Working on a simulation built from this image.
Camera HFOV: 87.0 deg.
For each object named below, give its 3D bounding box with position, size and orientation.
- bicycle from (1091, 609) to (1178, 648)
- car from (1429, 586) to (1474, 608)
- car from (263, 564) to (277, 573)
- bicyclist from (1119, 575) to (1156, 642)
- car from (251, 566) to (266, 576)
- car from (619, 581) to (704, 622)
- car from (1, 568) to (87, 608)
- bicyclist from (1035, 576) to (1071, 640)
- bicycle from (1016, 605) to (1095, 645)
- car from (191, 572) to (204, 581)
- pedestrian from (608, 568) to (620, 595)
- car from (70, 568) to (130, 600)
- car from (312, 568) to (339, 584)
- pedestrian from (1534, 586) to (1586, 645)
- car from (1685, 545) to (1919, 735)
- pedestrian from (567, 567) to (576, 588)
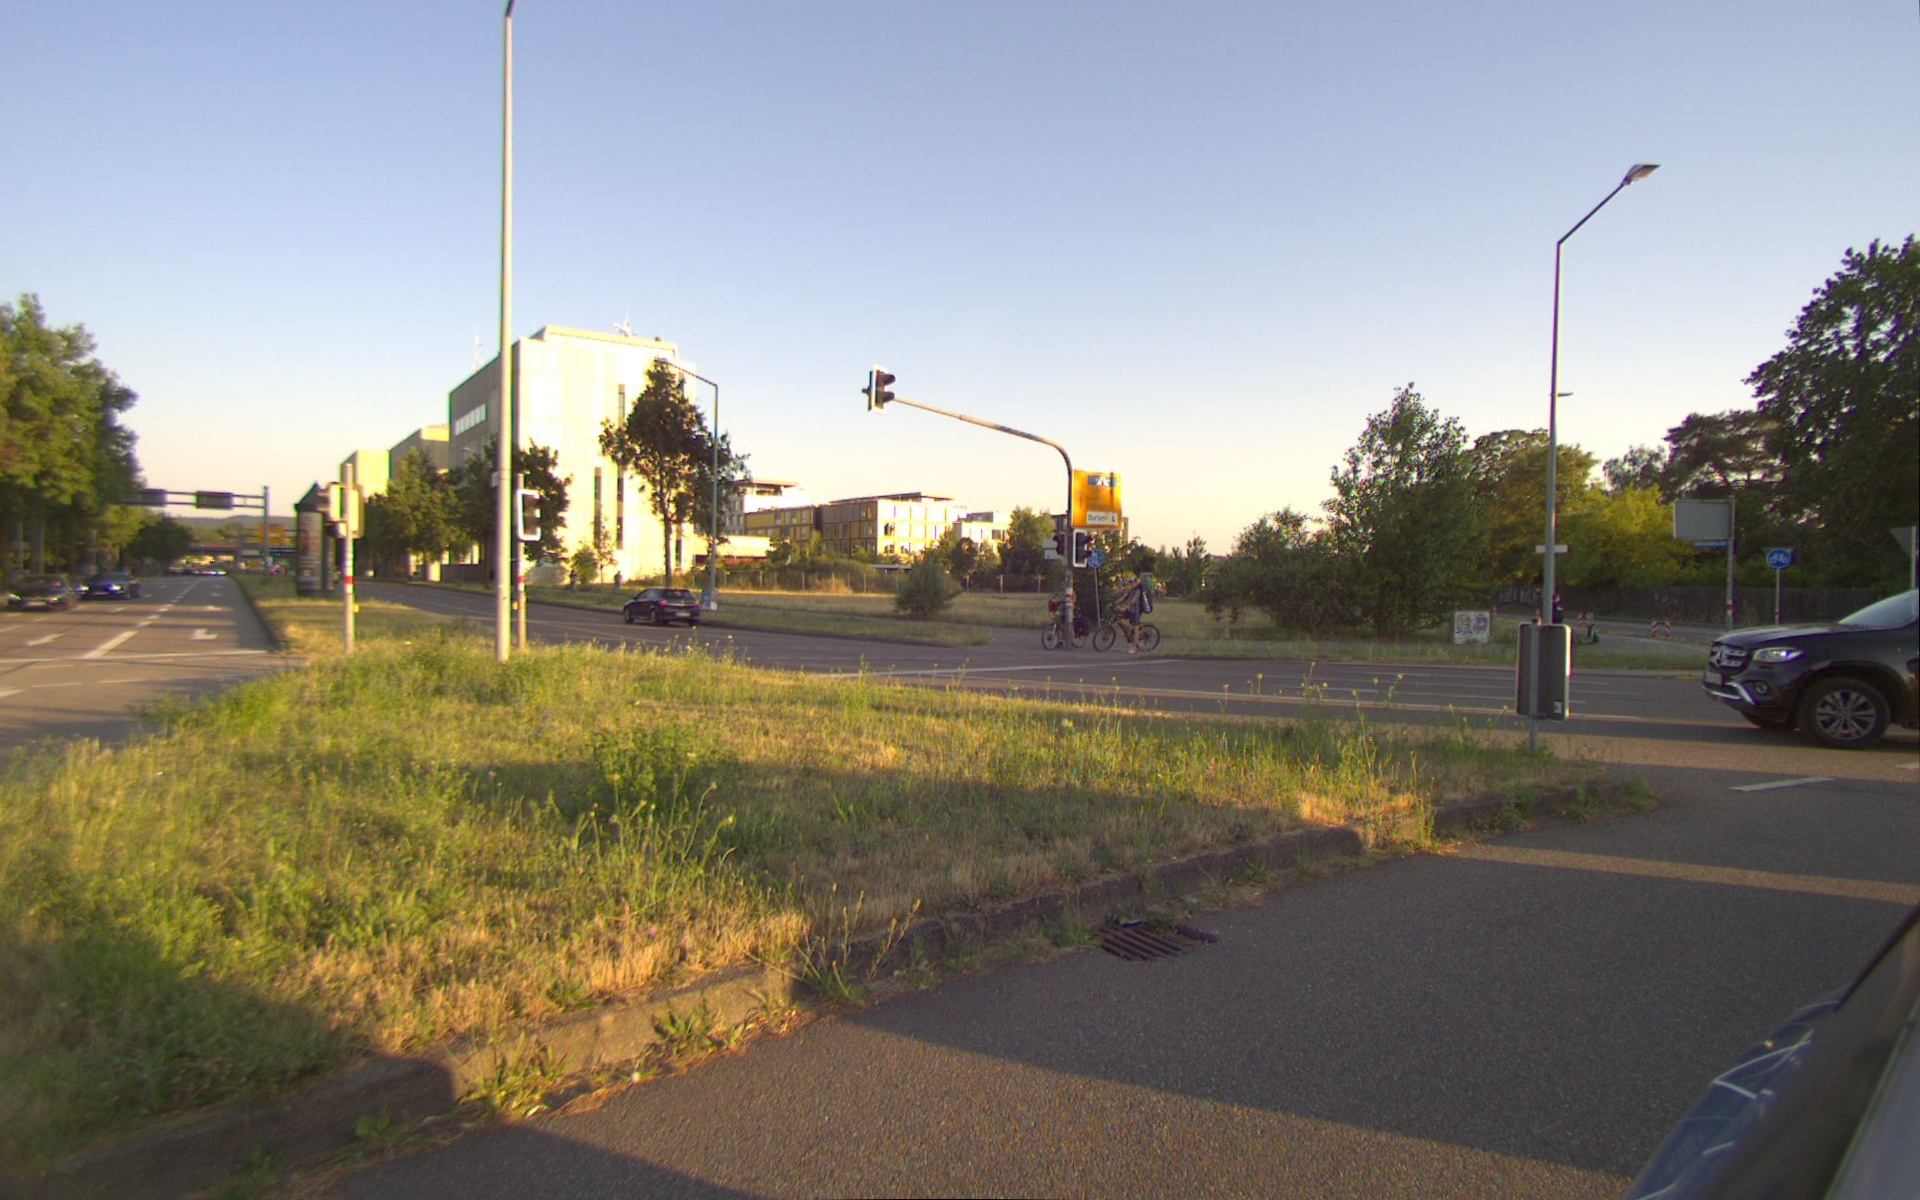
[{"bbox_3d":[4.520,0.732,26.221,2.100,0.975,0.711,1,1,-15],"label":"bicycle"},{"bbox_3d":[36.408,-0.258,75.105,1.968,1.504,3.989,1,1,10],"label":"car"},{"bbox_3d":[-133.567,-6.119,195.939,1.963,1.649,3.998,0,1,-37],"label":"car"},{"bbox_3d":[4.592,0.210,26.242,0.674,1.711,0.727,1,1,-13],"label":"bicyclist"},{"bbox_3d":[-120.172,-5.013,173.383,1.964,1.649,3.997,0,1,-38],"label":"car"},{"bbox_3d":[-11.103,0.022,37.468,1.719,1.396,4.125,0,2,-37],"label":"car"},{"bbox_3d":[-37.147,-0.528,41.159,1.962,1.524,4.622,0,1,-34],"label":"car"},{"bbox_3d":[2.507,0.208,27.307,0.675,1.711,0.726,0,1,-29],"label":"bicyclist"},{"bbox_3d":[2.592,0.659,27.325,2.065,0.975,0.711,-2,2,-27],"label":"bicycle"},{"bbox_3d":[-155.398,-4.803,206.177,1.964,1.803,3.995,0,0,-39],"label":"car"},{"bbox_3d":[-21.913,-1.180,64.101,0.555,1.705,0.520,0,1,-35],"label":"pedestrian"},{"bbox_3d":[-43.674,-0.845,51.489,1.963,1.524,4.771,0,1,-36],"label":"car"},{"bbox_3d":[-56.404,-2.146,89.930,1.659,1.438,3.998,0,1,-38],"label":"car"},{"bbox_3d":[16.772,0.419,28.329,0.977,1.610,0.923,1,1,13],"label":"pedestrian"},{"bbox_3d":[10.942,0.473,10.421,5.242,1.836,1.986,2,0,21],"label":"car"},{"bbox_3d":[-28.673,-1.658,74.692,0.492,1.531,0.530,0,1,-35],"label":"pedestrian"}]
